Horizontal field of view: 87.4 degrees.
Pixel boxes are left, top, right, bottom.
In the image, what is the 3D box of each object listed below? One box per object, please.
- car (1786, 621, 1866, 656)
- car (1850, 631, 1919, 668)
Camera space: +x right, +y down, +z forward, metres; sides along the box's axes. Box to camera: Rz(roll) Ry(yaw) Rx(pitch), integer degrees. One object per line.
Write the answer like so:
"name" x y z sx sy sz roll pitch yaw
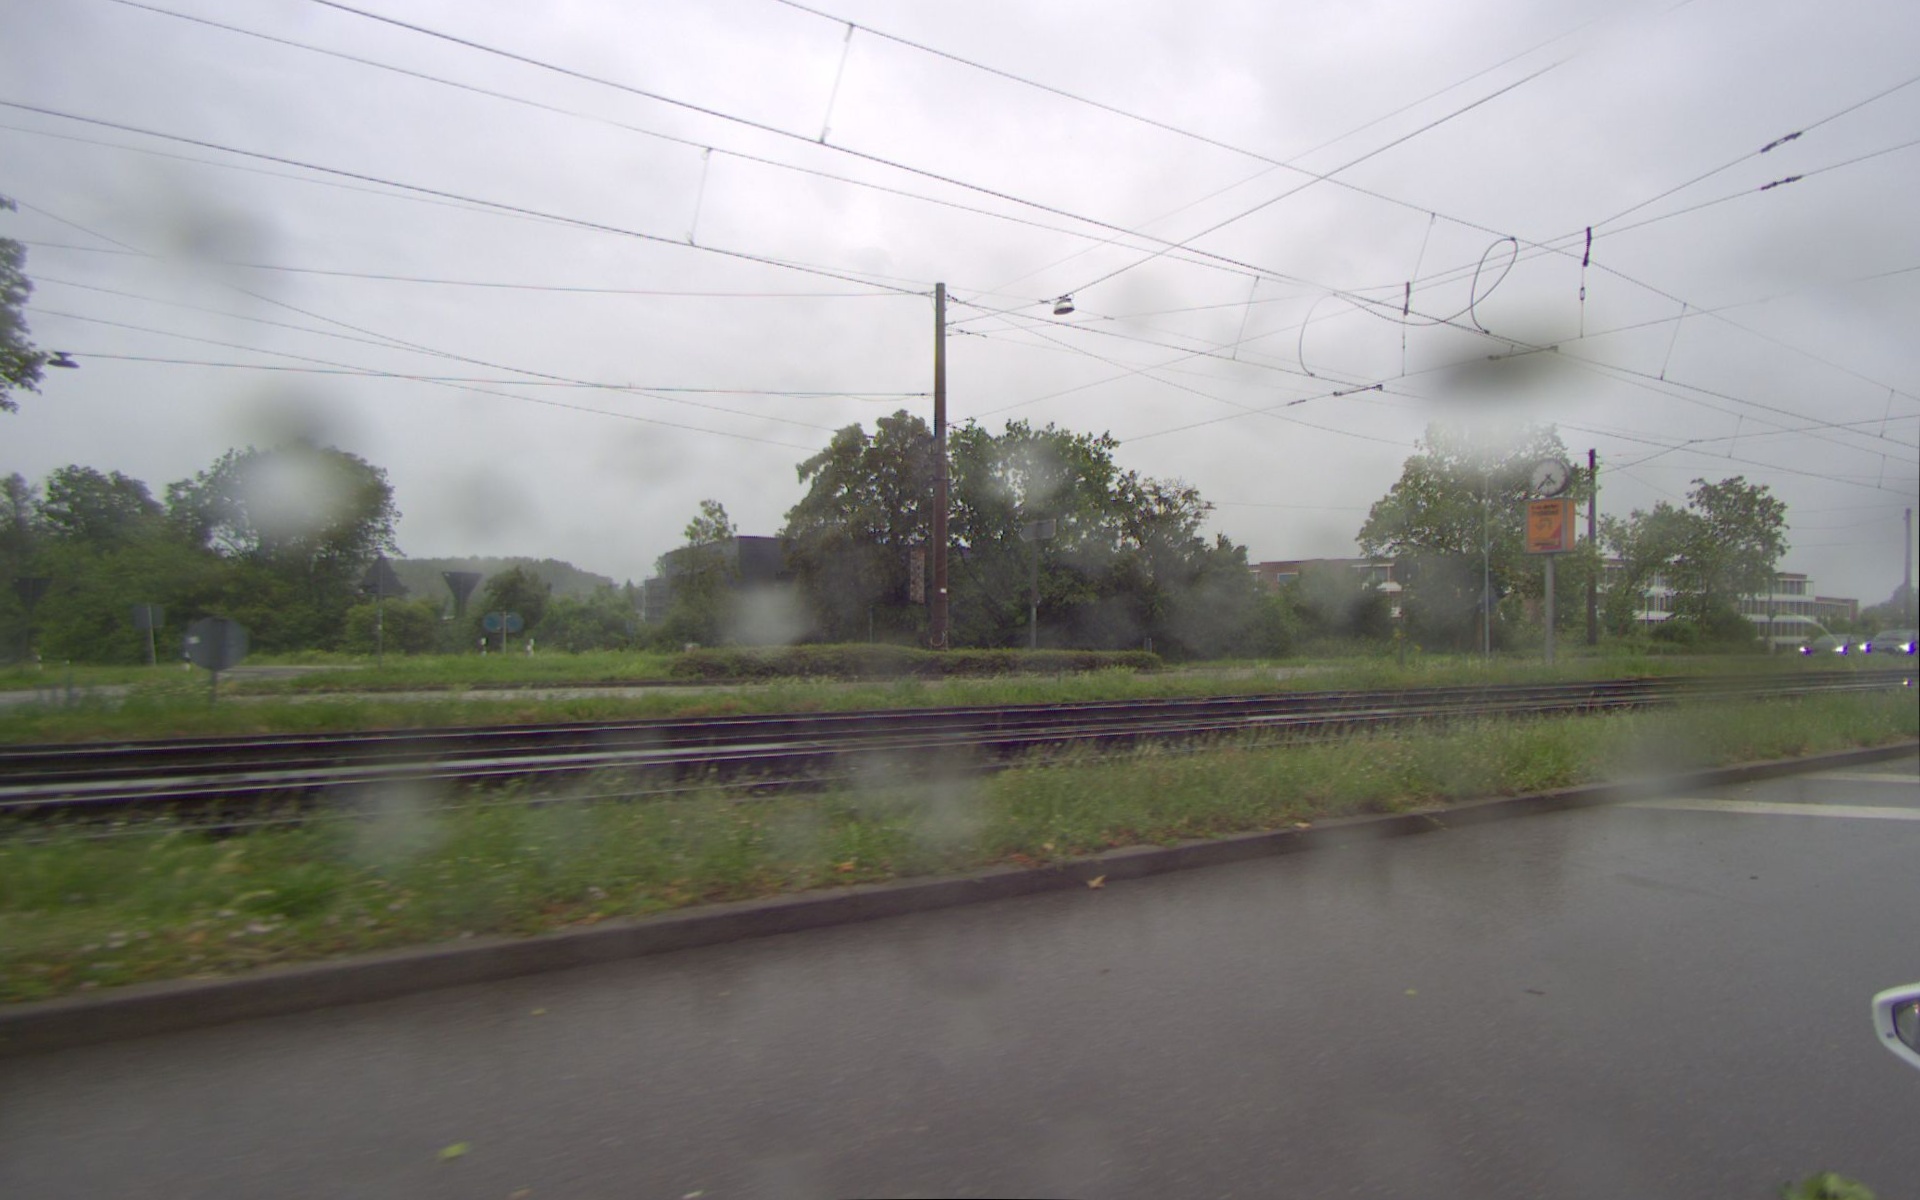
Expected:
"car" 44.193 1.932 51.220 4.731 1.709 1.931 1 -1 -34
"car" 43.732 2.271 47.072 4.938 1.637 1.931 1 -1 -35
